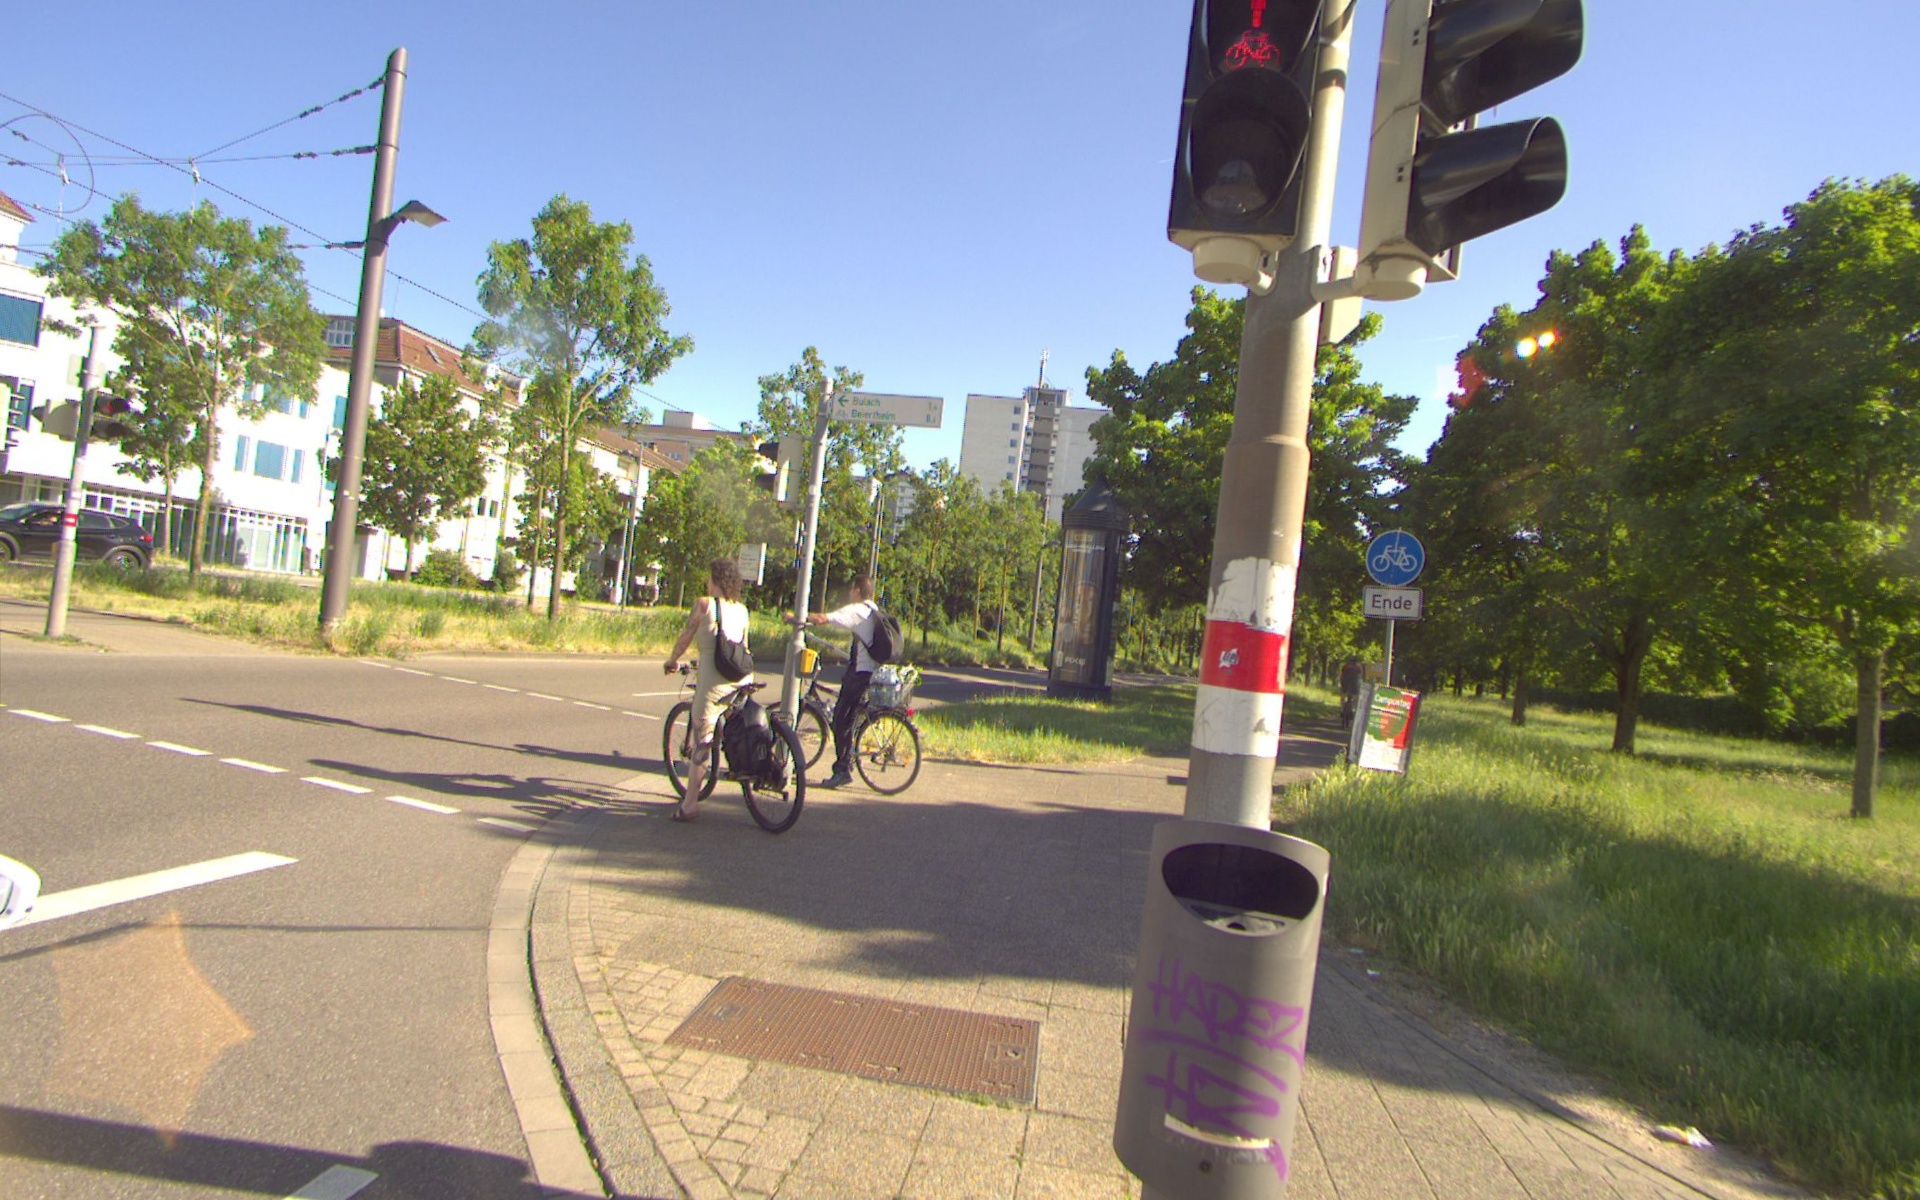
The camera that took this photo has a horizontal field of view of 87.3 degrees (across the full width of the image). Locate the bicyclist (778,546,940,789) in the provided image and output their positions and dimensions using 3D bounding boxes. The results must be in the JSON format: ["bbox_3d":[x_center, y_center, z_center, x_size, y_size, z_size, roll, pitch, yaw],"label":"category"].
[{"bbox_3d":[-0.901,0.571,8.875,0.787,1.983,0.999,6,0,-42],"label":"bicyclist"}]

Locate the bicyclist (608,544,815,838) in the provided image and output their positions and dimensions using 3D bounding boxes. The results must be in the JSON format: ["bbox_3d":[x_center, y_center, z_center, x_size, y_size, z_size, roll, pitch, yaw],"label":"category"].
[{"bbox_3d":[-1.749,0.589,7.021,0.787,1.846,1.122,6,0,-42],"label":"bicyclist"}]

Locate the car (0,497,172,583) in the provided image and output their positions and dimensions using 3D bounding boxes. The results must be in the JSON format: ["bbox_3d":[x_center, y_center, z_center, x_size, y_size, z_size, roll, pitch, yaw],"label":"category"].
[{"bbox_3d":[-21.855,-1.484,23.874,1.963,1.628,4.518,6,-2,19],"label":"car"}]

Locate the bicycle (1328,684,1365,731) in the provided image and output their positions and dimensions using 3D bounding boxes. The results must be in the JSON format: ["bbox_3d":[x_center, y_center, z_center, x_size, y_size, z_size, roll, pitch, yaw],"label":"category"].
[{"bbox_3d":[9.910,2.724,25.745,0.661,1.068,1.811,6,-1,25],"label":"bicycle"}]

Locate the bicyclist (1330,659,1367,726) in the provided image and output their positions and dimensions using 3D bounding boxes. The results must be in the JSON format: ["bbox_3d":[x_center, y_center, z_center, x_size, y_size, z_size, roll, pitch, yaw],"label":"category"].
[{"bbox_3d":[9.939,2.362,25.729,0.661,1.605,1.004,6,0,25],"label":"bicyclist"}]

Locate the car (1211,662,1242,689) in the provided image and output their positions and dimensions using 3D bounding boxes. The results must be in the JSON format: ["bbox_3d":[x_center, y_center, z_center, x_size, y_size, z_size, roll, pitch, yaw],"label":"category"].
[{"bbox_3d":[19.778,5.622,74.569,1.663,1.594,3.877,5,-4,22],"label":"car"}]

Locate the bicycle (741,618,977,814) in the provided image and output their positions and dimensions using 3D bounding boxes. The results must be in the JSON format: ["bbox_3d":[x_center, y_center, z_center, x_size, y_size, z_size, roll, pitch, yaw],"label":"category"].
[{"bbox_3d":[-0.960,0.957,8.902,0.787,1.364,2.236,7,-1,-42],"label":"bicycle"}]

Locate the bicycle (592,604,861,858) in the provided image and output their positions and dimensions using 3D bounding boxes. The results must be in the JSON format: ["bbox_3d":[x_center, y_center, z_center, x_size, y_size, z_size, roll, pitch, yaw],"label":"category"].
[{"bbox_3d":[-1.674,0.810,6.922,0.787,1.364,2.054,7,-1,-42],"label":"bicycle"}]

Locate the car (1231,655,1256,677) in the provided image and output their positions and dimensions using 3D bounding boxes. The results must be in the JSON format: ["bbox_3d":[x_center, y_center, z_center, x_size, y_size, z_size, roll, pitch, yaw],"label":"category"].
[{"bbox_3d":[28.601,6.689,101.243,1.732,1.819,4.503,5,-4,23],"label":"car"}]

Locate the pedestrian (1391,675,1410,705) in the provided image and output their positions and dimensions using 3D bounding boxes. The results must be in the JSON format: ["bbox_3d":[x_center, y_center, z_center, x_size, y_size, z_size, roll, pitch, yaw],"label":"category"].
[{"bbox_3d":[26.640,5.438,60.846,0.725,1.747,0.890,6,0,13],"label":"pedestrian"}]
